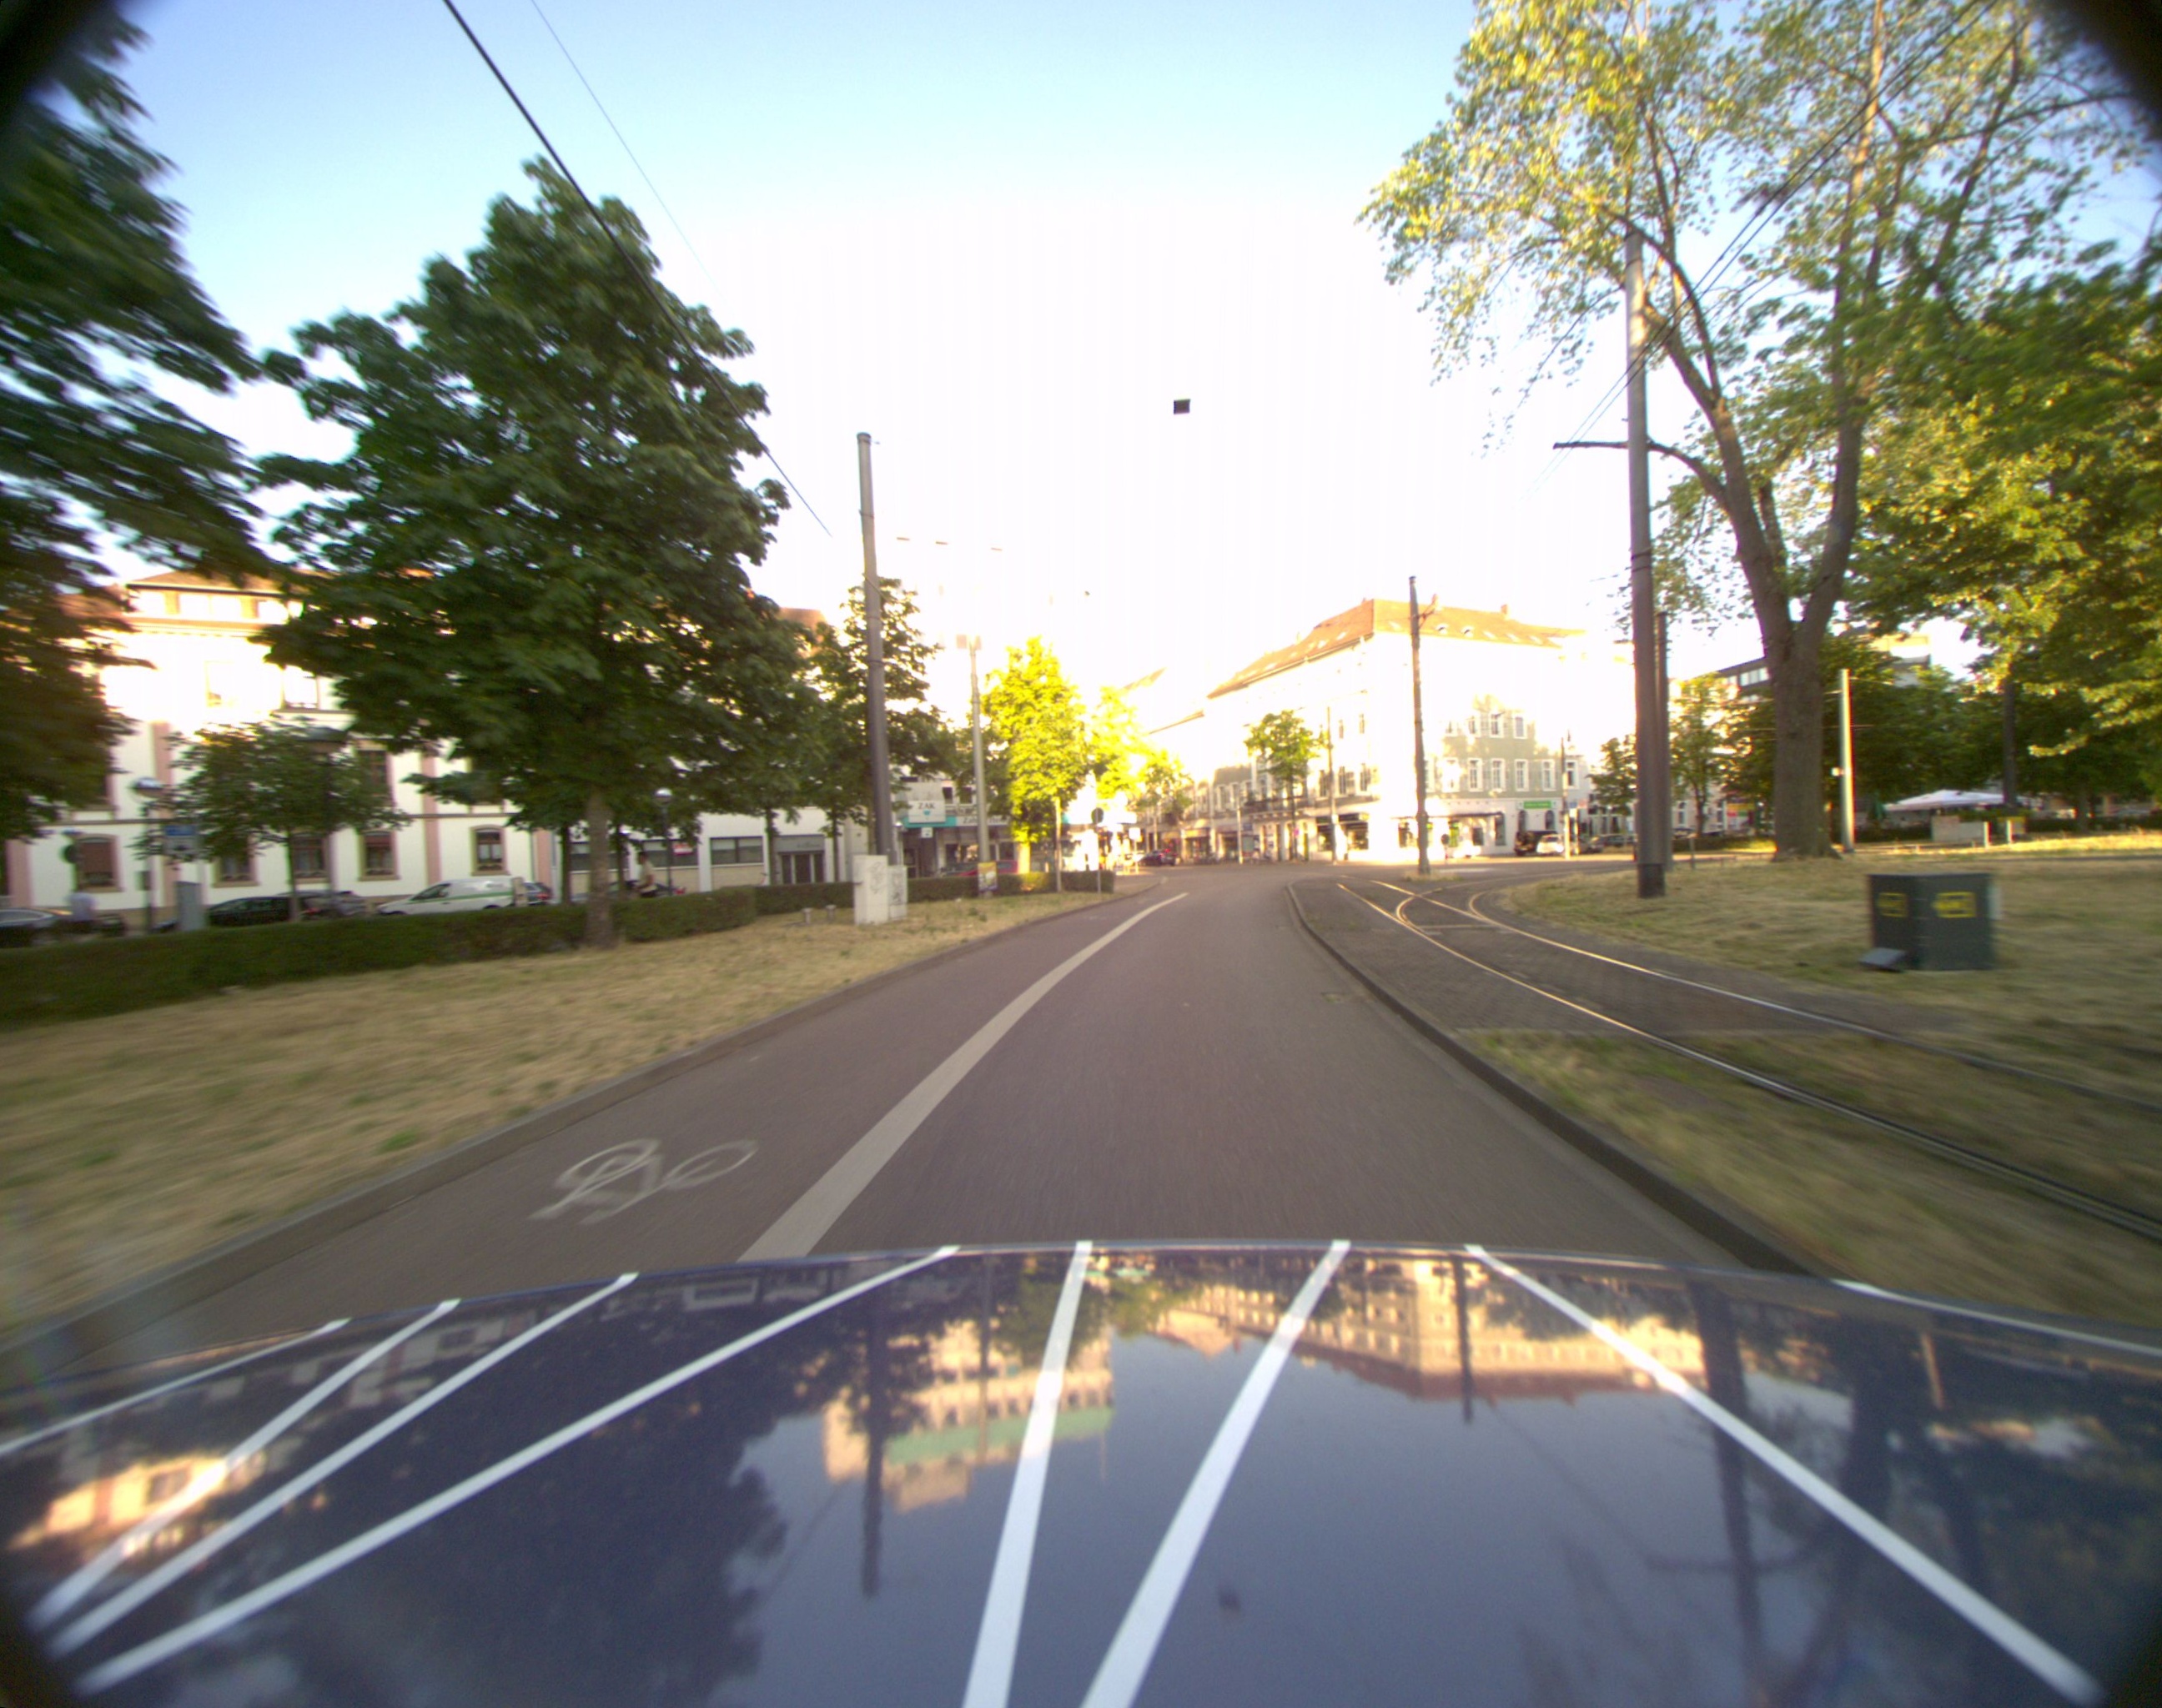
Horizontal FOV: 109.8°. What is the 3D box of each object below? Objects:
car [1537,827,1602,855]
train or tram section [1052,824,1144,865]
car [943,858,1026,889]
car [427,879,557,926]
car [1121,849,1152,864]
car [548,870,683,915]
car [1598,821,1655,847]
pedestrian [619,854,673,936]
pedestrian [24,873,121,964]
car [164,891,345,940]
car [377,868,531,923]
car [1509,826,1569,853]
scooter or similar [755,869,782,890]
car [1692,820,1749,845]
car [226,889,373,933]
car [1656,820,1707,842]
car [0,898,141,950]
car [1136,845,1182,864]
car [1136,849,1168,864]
[{"bbox_3d":[33.104,-0.864,51.434,4.005,1.696,1.856,-2,0,-26],"label":"car"},{"bbox_3d":[1.364,-0.840,73.881,2.954,3.564,13.338,-3,1,-26],"label":"train or tram section"},{"bbox_3d":[-5.237,1.048,41.165,4.004,1.441,1.845,-3,0,-24],"label":"car"},{"bbox_3d":[-24.982,2.017,32.419,4.018,1.714,1.698,-3,0,-23],"label":"car"},{"bbox_3d":[6.278,0.321,86.571,1.805,1.543,3.961,-3,0,-22],"label":"car"},{"bbox_3d":[-18.296,1.469,30.124,4.328,1.402,1.802,-2,2,-24],"label":"car"},{"bbox_3d":[43.409,-1.578,60.457,4.005,1.892,1.996,-2,0,-26],"label":"car"},{"bbox_3d":[-8.859,0.826,15.469,0.612,1.616,0.652,-3,0,24],"label":"pedestrian"},{"bbox_3d":[-23.347,1.463,17.610,0.829,2.002,1.009,-3,0,7],"label":"pedestrian"},{"bbox_3d":[-28.230,2.065,26.117,3.787,1.328,1.724,-2,0,-24],"label":"car"},{"bbox_3d":[-23.158,1.497,28.258,4.018,1.714,1.698,-3,0,-24],"label":"car"},{"bbox_3d":[34.871,-1.105,57.863,4.005,1.892,1.996,-2,0,-26],"label":"car"},{"bbox_3d":[-16.454,1.328,40.022,1.181,1.026,0.488,-3,0,-3],"label":"scooter or similar"},{"bbox_3d":[48.434,-1.639,57.537,4.005,1.696,1.856,-2,0,-26],"label":"car"},{"bbox_3d":[-31.044,2.233,30.328,3.680,1.441,1.698,-3,0,-23],"label":"car"},{"bbox_3d":[51.208,-1.953,64.801,4.005,1.696,1.856,-2,0,-26],"label":"car"},{"bbox_3d":[-33.278,2.236,23.848,4.401,1.411,1.724,-2,0,-24],"label":"car"},{"bbox_3d":[7.420,0.081,72.840,2.003,1.673,4.734,-3,0,-29],"label":"car"},{"bbox_3d":[7.611,0.284,81.901,1.726,1.543,3.961,-3,0,-22],"label":"car"}]
